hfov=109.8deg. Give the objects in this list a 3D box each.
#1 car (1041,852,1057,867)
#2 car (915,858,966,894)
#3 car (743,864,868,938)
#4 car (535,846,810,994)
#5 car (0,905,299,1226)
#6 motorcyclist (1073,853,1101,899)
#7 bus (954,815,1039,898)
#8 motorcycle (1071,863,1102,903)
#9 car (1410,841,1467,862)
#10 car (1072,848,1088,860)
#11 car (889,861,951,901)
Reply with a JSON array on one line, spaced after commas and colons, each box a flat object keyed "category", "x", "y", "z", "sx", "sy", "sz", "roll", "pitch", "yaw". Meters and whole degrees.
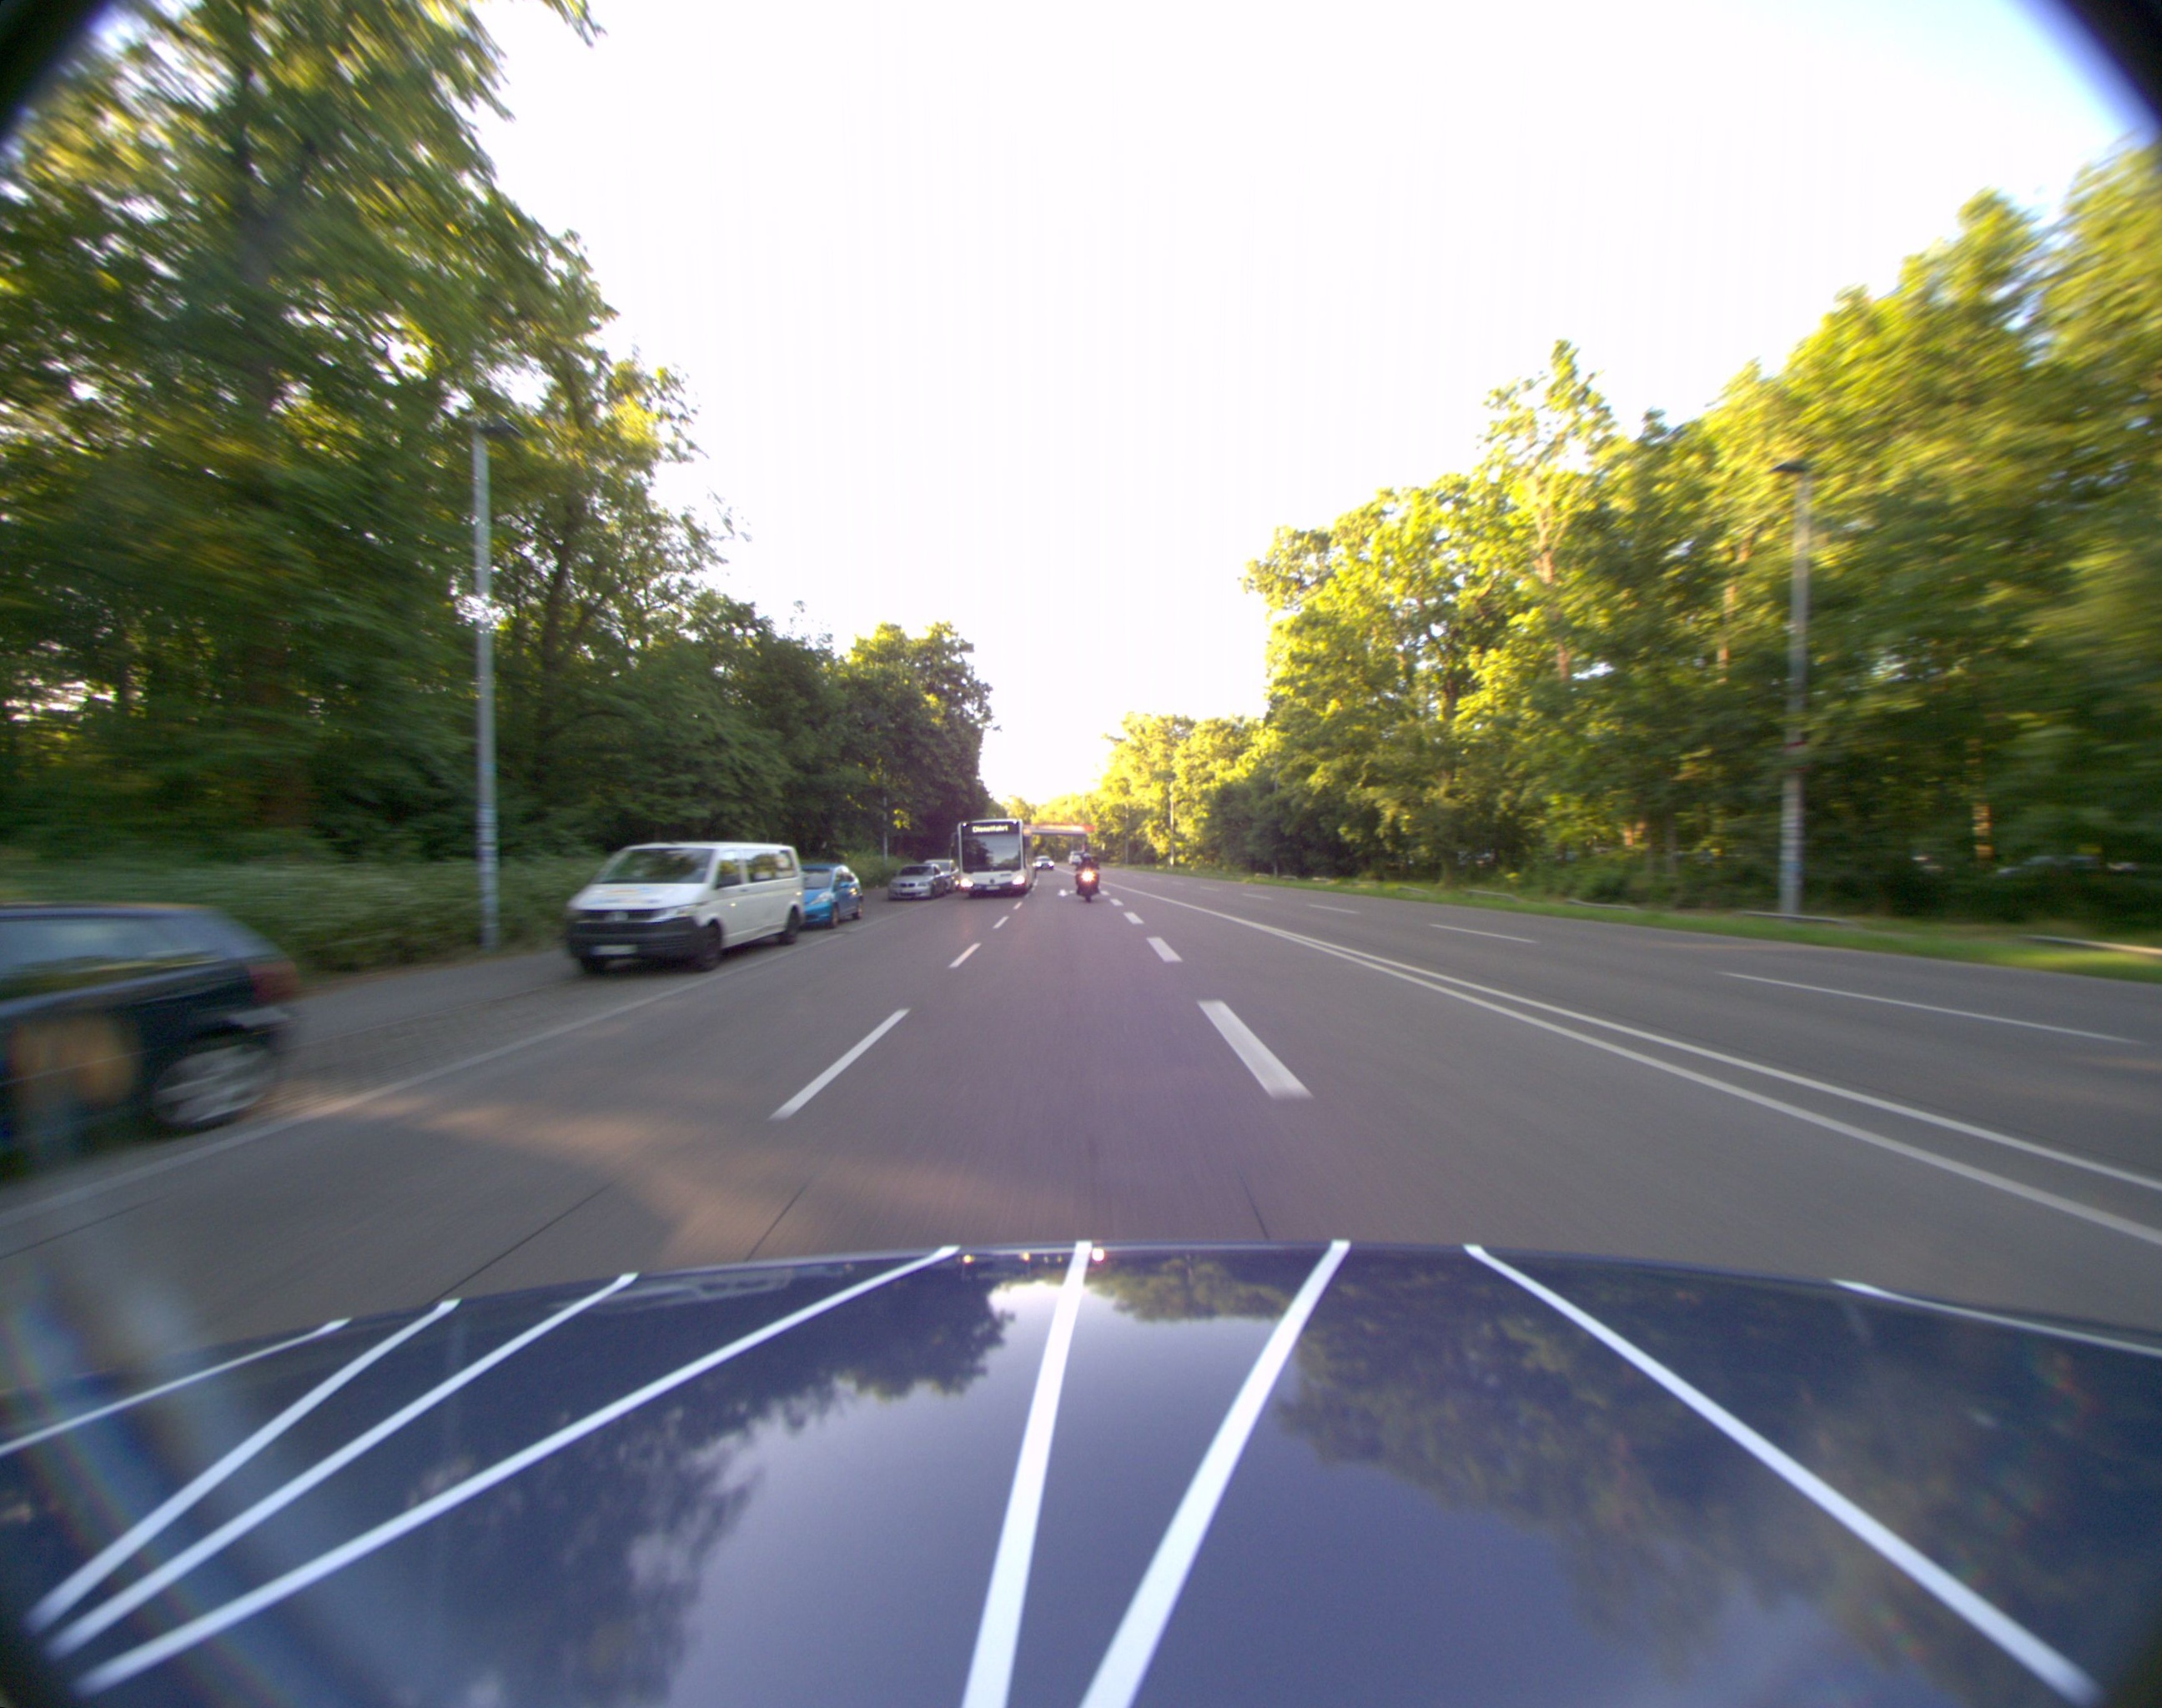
[{"category": "car", "x": -3.416, "y": 0.595, "z": 81.088, "sx": 1.679, "sy": 1.552, "sz": 3.993, "roll": -2, "pitch": 0, "yaw": -2}, {"category": "car", "x": -6.492, "y": 0.990, "z": 35.503, "sx": 1.594, "sy": 1.479, "sz": 3.829, "roll": -2, "pitch": 1, "yaw": 0}, {"category": "car", "x": -6.704, "y": 1.069, "z": 18.944, "sx": 1.819, "sy": 1.501, "sz": 3.828, "roll": -2, "pitch": 1, "yaw": -3}, {"category": "car", "x": -6.391, "y": 0.858, "z": 12.804, "sx": 1.819, "sy": 1.910, "sz": 5.266, "roll": -2, "pitch": 1, "yaw": -1}, {"category": "car", "x": -6.228, "y": 1.133, "z": 3.233, "sx": 1.819, "sy": 1.470, "sz": 3.828, "roll": -2, "pitch": 1, "yaw": -2}, {"category": "motorcyclist", "x": 0.207, "y": 0.724, "z": 25.601, "sx": 0.830, "sy": 1.484, "sz": 1.024, "roll": -2, "pitch": 1, "yaw": 4}, {"category": "bus", "x": -3.488, "y": 0.102, "z": 34.774, "sx": 2.813, "sy": 3.030, "sz": 12.883, "roll": -2, "pitch": 0, "yaw": -2}, {"category": "motorcycle", "x": 0.207, "y": 0.934, "z": 25.609, "sx": 0.830, "sy": 1.211, "sz": 2.604, "roll": -2, "pitch": 0, "yaw": 4}, {"category": "car", "x": 31.469, "y": -0.243, "z": 66.941, "sx": 3.998, "sy": 1.630, "sz": 1.999, "roll": -2, "pitch": 1, "yaw": -4}, {"category": "car", "x": -0.186, "y": 0.054, "z": 111.685, "sx": 1.844, "sy": 1.682, "sz": 4.650, "roll": -2, "pitch": 0, "yaw": -6}, {"category": "car", "x": -6.403, "y": 1.039, "z": 30.617, "sx": 1.594, "sy": 1.375, "sz": 3.829, "roll": -2, "pitch": 1, "yaw": 0}]
